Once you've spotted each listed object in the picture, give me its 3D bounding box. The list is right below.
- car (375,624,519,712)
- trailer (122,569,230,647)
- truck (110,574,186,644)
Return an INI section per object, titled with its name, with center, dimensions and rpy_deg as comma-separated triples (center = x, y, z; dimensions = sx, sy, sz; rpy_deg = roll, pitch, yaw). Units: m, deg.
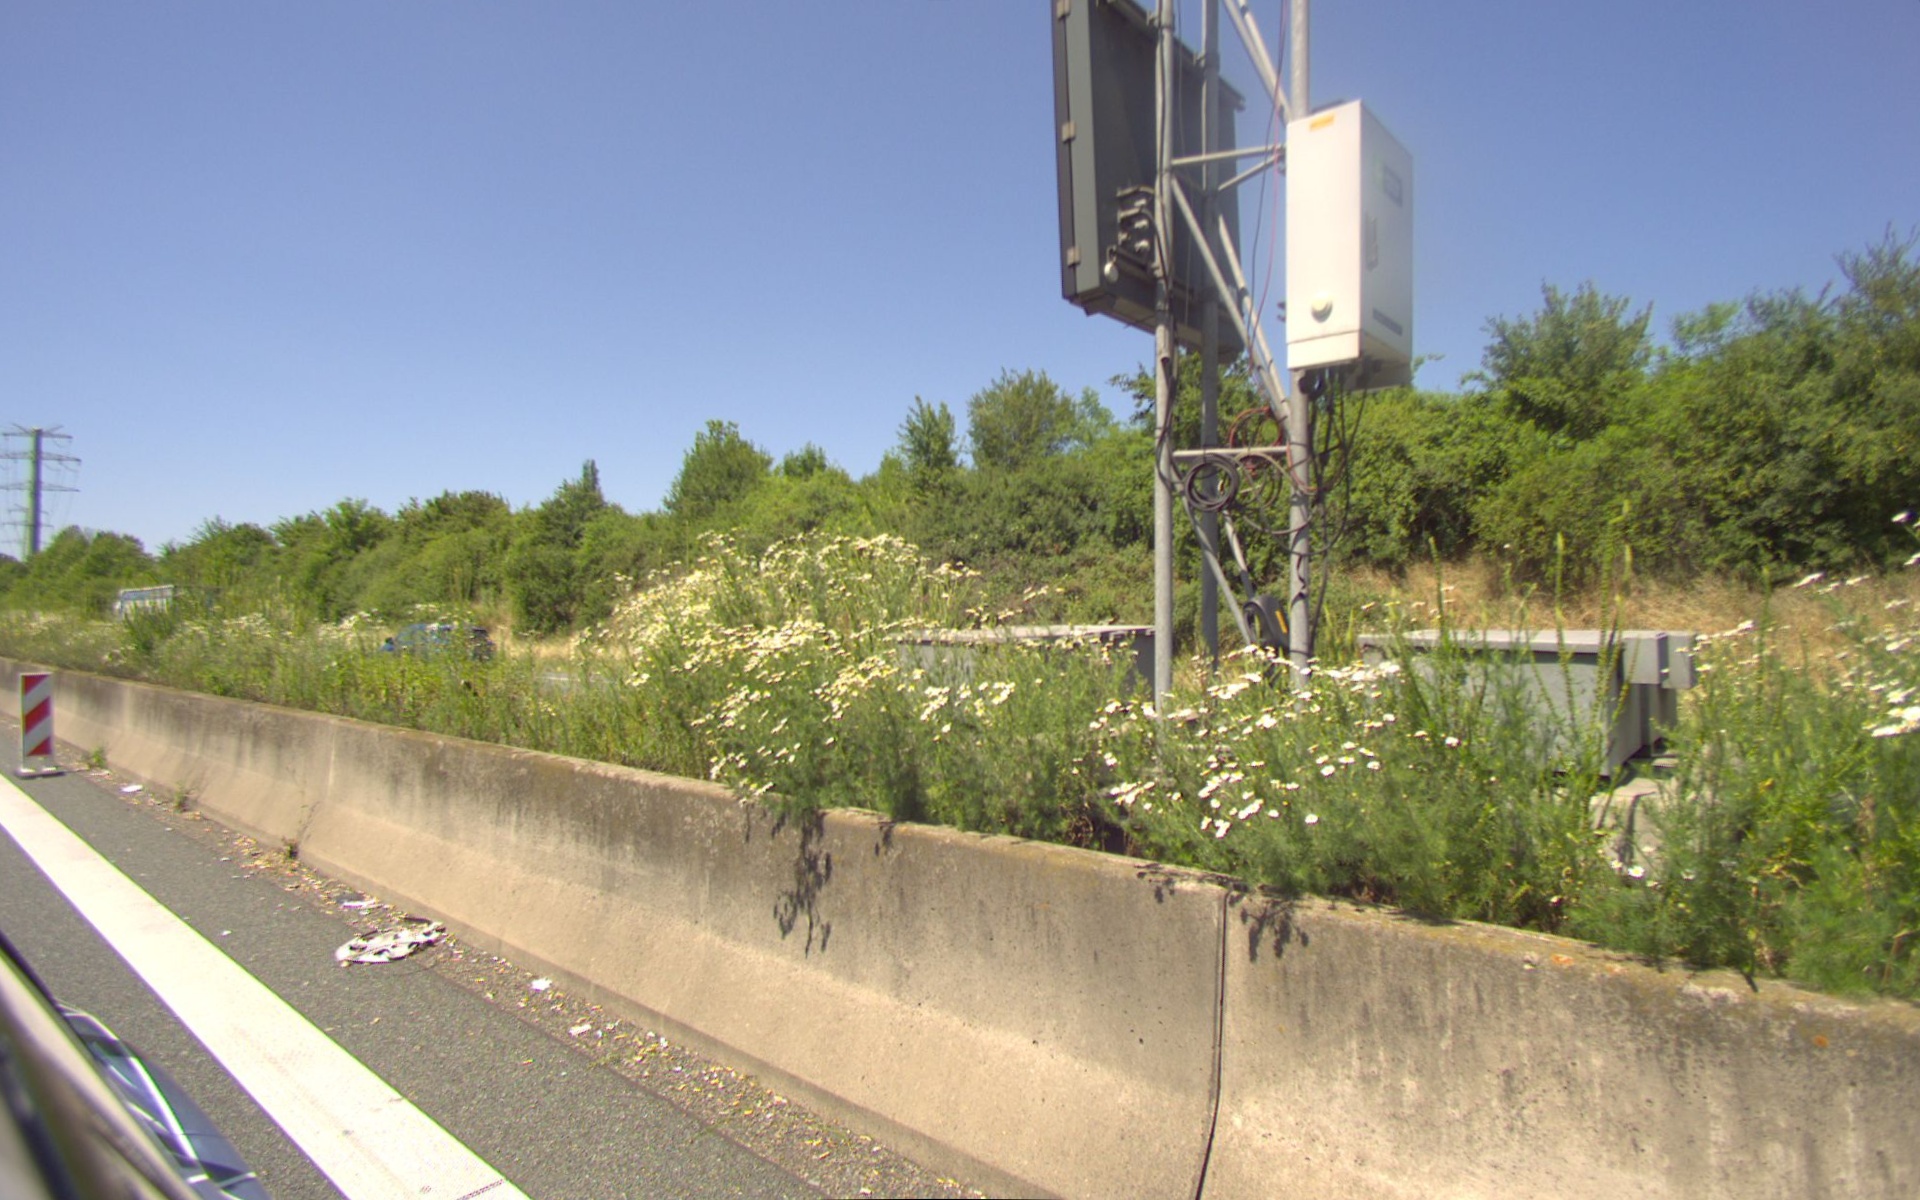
[car]
center = -13.325, 1.661, 26.212
dimensions = 3.998, 2.029, 1.973
rpy_deg = -1, 0, 41
[trailer]
center = -48.639, 0.491, 62.560
dimensions = 12.900, 4.437, 2.929
rpy_deg = -1, 0, 41
[truck]
center = -53.883, 0.569, 67.139
dimensions = 6.072, 4.425, 2.914
rpy_deg = -1, 0, 41
